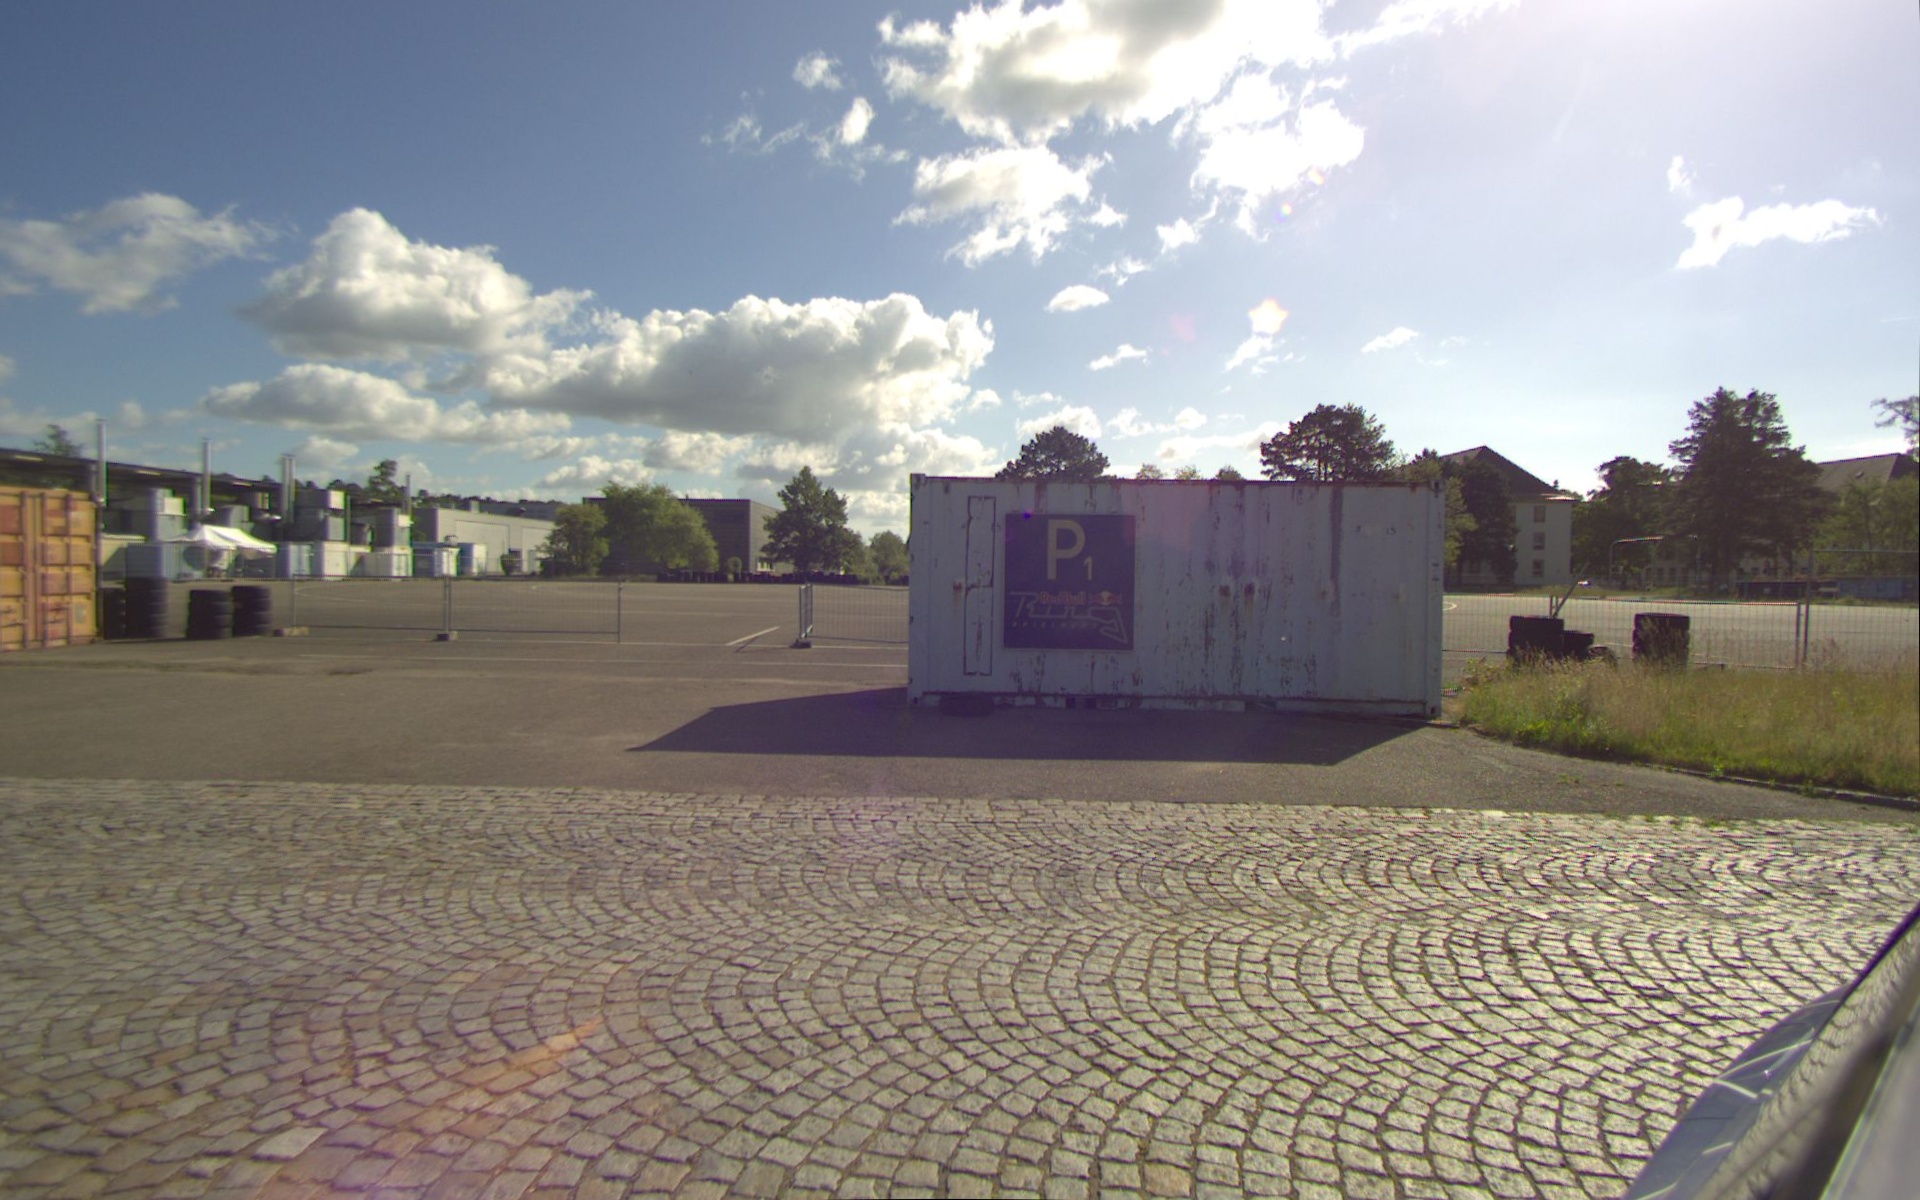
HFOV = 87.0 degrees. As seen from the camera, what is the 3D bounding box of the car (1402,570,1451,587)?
[{"bbox_3d":[46.519,-2.119,101.053,3.921,1.601,2.002,1,2,-3],"label":"car"}]
